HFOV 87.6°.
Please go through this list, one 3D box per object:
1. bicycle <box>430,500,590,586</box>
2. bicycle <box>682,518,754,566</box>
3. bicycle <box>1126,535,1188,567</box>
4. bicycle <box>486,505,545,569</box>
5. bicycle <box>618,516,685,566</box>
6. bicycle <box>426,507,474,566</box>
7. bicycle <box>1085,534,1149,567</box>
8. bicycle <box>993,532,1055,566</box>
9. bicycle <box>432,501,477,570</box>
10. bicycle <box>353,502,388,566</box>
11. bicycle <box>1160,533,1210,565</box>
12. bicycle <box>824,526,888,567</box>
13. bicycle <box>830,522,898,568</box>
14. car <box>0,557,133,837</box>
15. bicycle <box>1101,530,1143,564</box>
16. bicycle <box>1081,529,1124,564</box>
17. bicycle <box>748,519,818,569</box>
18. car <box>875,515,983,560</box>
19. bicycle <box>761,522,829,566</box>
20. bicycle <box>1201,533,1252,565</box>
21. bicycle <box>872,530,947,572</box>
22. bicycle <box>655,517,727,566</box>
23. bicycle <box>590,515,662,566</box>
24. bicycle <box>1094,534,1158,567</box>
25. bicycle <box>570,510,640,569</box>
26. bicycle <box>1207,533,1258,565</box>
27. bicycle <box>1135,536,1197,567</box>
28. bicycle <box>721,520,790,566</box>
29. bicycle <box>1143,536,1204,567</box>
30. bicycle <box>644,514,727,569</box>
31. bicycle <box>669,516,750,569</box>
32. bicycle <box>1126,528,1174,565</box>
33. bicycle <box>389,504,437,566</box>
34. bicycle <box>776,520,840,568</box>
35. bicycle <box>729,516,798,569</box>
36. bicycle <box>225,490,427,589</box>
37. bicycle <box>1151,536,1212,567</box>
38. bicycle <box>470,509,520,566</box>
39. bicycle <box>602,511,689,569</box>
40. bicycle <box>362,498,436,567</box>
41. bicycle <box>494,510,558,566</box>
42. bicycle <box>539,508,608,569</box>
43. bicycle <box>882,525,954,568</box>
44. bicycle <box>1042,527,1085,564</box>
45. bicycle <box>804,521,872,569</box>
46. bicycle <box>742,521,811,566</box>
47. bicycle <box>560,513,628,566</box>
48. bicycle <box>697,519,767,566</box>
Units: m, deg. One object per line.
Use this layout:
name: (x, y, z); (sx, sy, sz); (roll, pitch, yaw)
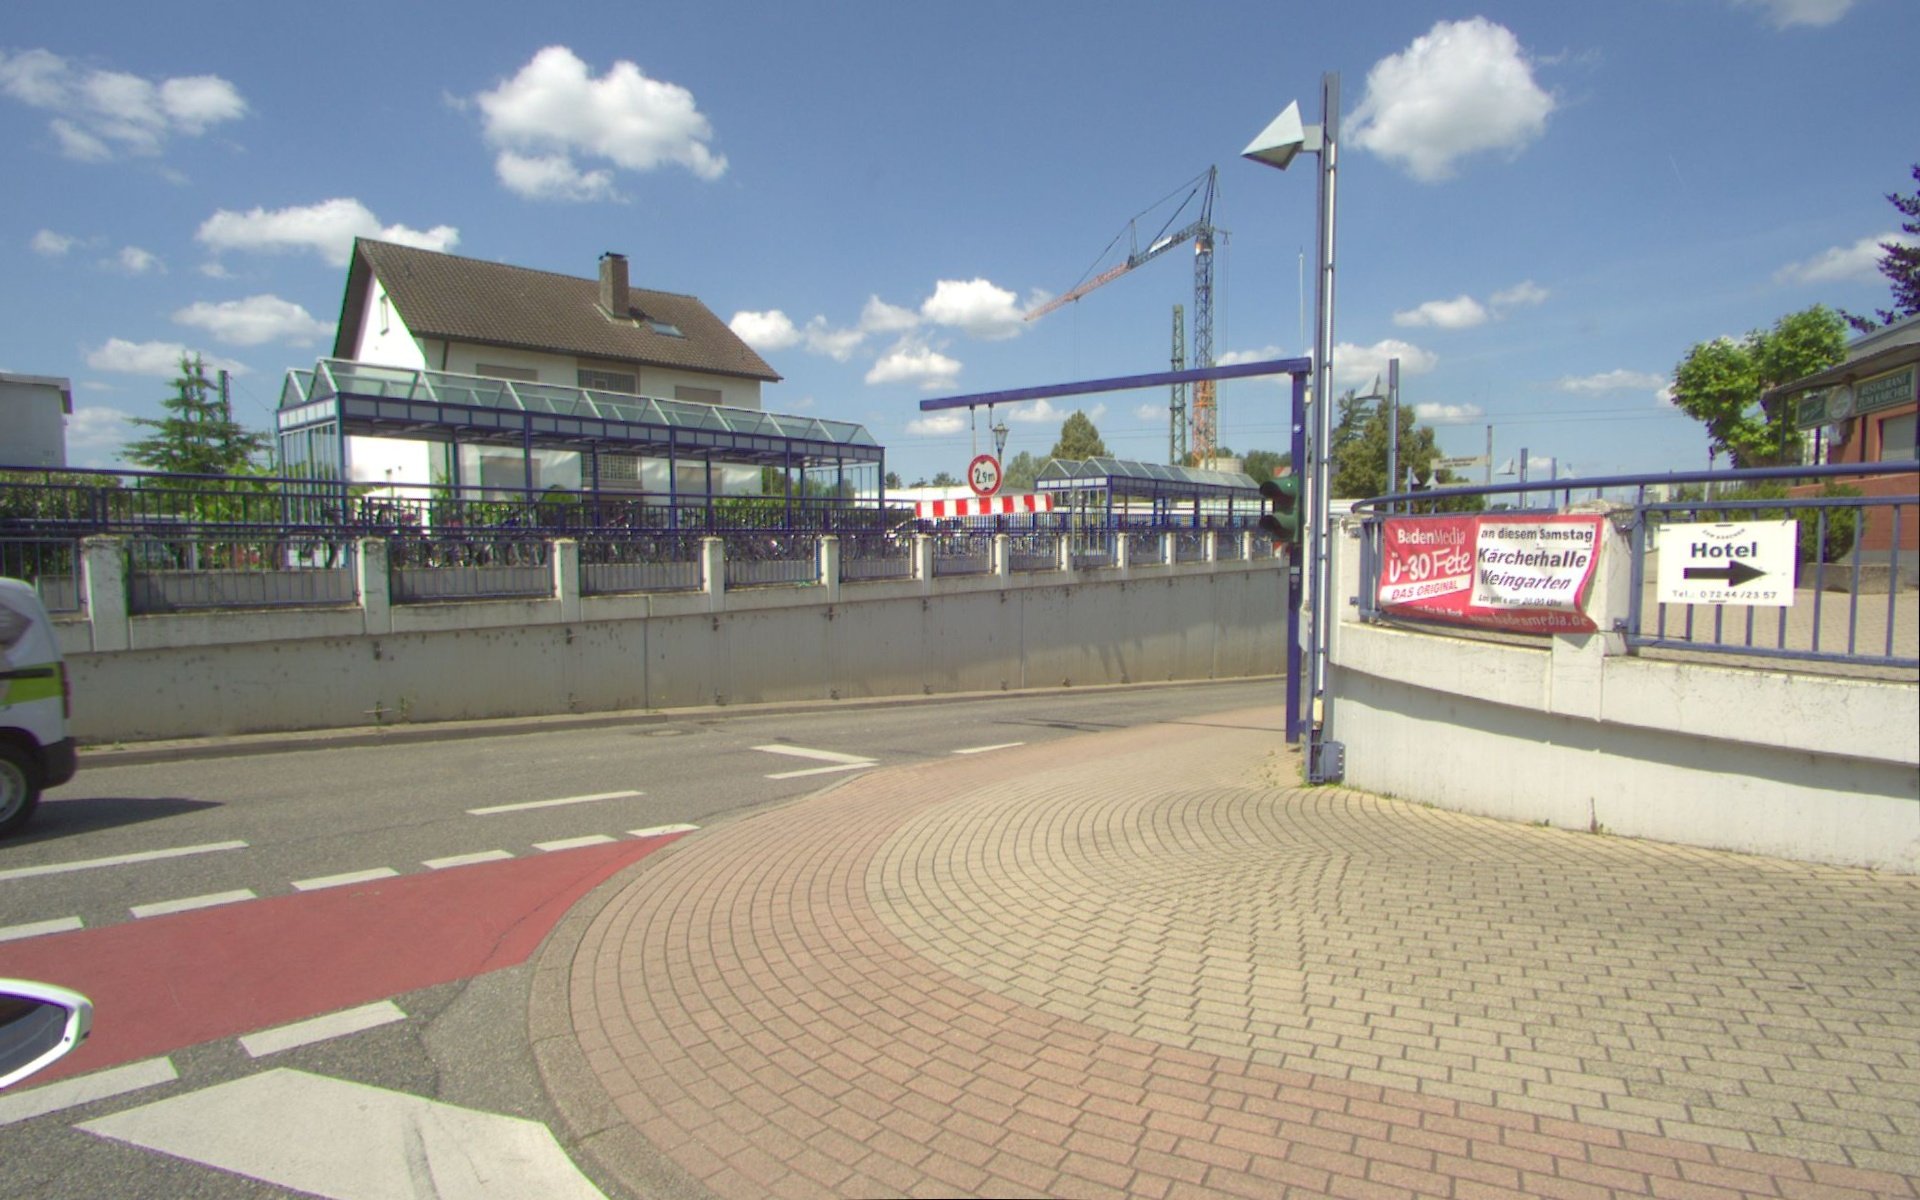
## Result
bicycle: (-6.323, -0.787, 14.201); (0.387, 1.141, 2.104); (3, 4, 40)
bicycle: (-5.349, -1.265, 22.074); (1.943, 1.009, 0.516); (3, 4, 42)
bicycle: (6.520, -1.623, 33.163); (2.000, 1.009, 0.508); (2, 4, 38)
bicycle: (-7.391, -1.025, 16.603); (0.431, 1.009, 2.085); (-2, 3, -36)
bicycle: (-6.522, -1.236, 21.146); (1.780, 1.009, 0.516); (3, 4, 42)
bicycle: (-9.264, -1.136, 18.152); (0.369, 1.009, 1.948); (-2, 3, -39)
bicycle: (4.923, -1.568, 31.500); (2.000, 1.009, 0.434); (2, 4, 38)
bicycle: (1.963, -1.572, 31.027); (2.000, 1.009, 0.508); (2, 4, 38)
bicycle: (-7.957, -0.994, 15.734); (0.431, 1.009, 2.088); (-1, 3, -32)
bicycle: (-9.851, -1.082, 16.721); (0.450, 1.009, 1.876); (-1, 3, -31)
bicycle: (8.582, -1.948, 38.197); (1.800, 1.174, 0.508); (3, 4, 40)
bicycle: (-2.636, -1.336, 25.208); (0.539, 1.009, 2.019); (-2, 4, -42)
bicycle: (-2.204, -1.236, 22.818); (0.539, 1.009, 2.021); (-2, 3, -39)
car: (-7.557, 0.586, 5.484); (1.783, 1.879, 4.559); (2, -1, 10)
bicycle: (5.738, -1.859, 35.446); (0.382, 1.174, 1.587); (-2, 4, -40)
bicycle: (4.807, -1.801, 33.842); (0.382, 1.174, 1.587); (-2, 4, -40)
bicycle: (-3.759, -1.183, 21.196); (0.511, 1.009, 2.020); (-2, 3, -41)
car: (-1.243, -2.441, 39.682); (3.948, 1.701, 1.985); (2, 3, 38)
bicycle: (-3.958, -1.329, 23.922); (1.943, 1.009, 0.516); (3, 4, 42)
bicycle: (10.039, -1.917, 37.711); (1.800, 1.174, 0.508); (3, 4, 40)
bicycle: (-1.246, -1.193, 24.424); (2.136, 1.009, 0.434); (3, 4, 41)
bicycle: (-5.779, -1.244, 21.476); (1.943, 1.009, 0.516); (3, 4, 42)
bicycle: (-6.876, -1.215, 20.561); (1.943, 1.009, 0.516); (3, 4, 42)
bicycle: (5.293, -1.585, 31.993); (2.000, 1.009, 0.508); (2, 4, 38)
bicycle: (-6.408, -1.074, 17.999); (0.432, 1.009, 2.260); (-2, 3, -40)
bicycle: (10.376, -1.932, 38.136); (1.800, 1.174, 0.508); (3, 4, 40)
bicycle: (6.895, -1.639, 33.623); (2.000, 1.009, 0.508); (2, 4, 38)
bicycle: (-4.732, -1.301, 23.093); (1.943, 1.009, 0.516); (3, 4, 42)
bicycle: (7.242, -1.652, 34.029); (2.000, 1.009, 0.508); (2, 4, 38)
bicycle: (-5.323, -1.120, 19.356); (2.164, 1.009, 0.529); (3, 4, 44)
bicycle: (-5.029, -1.145, 20.020); (2.164, 1.009, 0.529); (3, 4, 44)
bicycle: (6.142, -1.732, 32.392); (0.424, 1.174, 1.587); (-2, 4, -40)
bicycle: (-9.487, -1.104, 17.325); (0.369, 1.009, 1.948); (-2, 3, -39)
bicycle: (-3.322, -1.201, 21.742); (0.510, 1.009, 2.023); (-2, 3, -35)
bicycle: (-4.021, -1.153, 20.409); (0.573, 1.009, 2.172); (-1, 3, -34)
bicycle: (-7.808, -0.727, 12.450); (0.329, 1.141, 2.104); (3, 4, 40)
bicycle: (7.589, -1.663, 34.348); (2.000, 1.009, 0.508); (2, 4, 38)
bicycle: (-8.634, -1.147, 18.554); (0.369, 1.009, 1.948); (-2, 3, -39)
bicycle: (-5.829, -1.090, 18.501); (2.256, 1.009, 0.529); (3, 4, 44)
bicycle: (-8.724, -1.026, 15.538); (2.051, 1.009, 0.330); (3, 4, 41)
bicycle: (-8.314, -1.168, 19.128); (1.944, 1.009, 0.423); (3, 4, 45)
bicycle: (-6.817, -1.060, 17.587); (0.432, 1.009, 2.260); (-2, 3, -40)
bicycle: (-1.053, -1.290, 24.369); (0.540, 1.009, 2.017); (-2, 4, -45)
bicycle: (3.368, -1.764, 32.653); (0.382, 1.174, 1.587); (-2, 4, -40)
bicycle: (-2.717, -1.214, 22.183); (0.511, 1.009, 2.021); (-2, 3, -39)
bicycle: (-4.321, -1.315, 23.512); (1.943, 1.009, 0.516); (3, 4, 42)
bicycle: (-7.328, -1.196, 20.009); (1.943, 1.009, 0.411); (3, 4, 42)
bicycle: (-5.167, -1.287, 22.665); (1.943, 1.009, 0.516); (3, 4, 42)
